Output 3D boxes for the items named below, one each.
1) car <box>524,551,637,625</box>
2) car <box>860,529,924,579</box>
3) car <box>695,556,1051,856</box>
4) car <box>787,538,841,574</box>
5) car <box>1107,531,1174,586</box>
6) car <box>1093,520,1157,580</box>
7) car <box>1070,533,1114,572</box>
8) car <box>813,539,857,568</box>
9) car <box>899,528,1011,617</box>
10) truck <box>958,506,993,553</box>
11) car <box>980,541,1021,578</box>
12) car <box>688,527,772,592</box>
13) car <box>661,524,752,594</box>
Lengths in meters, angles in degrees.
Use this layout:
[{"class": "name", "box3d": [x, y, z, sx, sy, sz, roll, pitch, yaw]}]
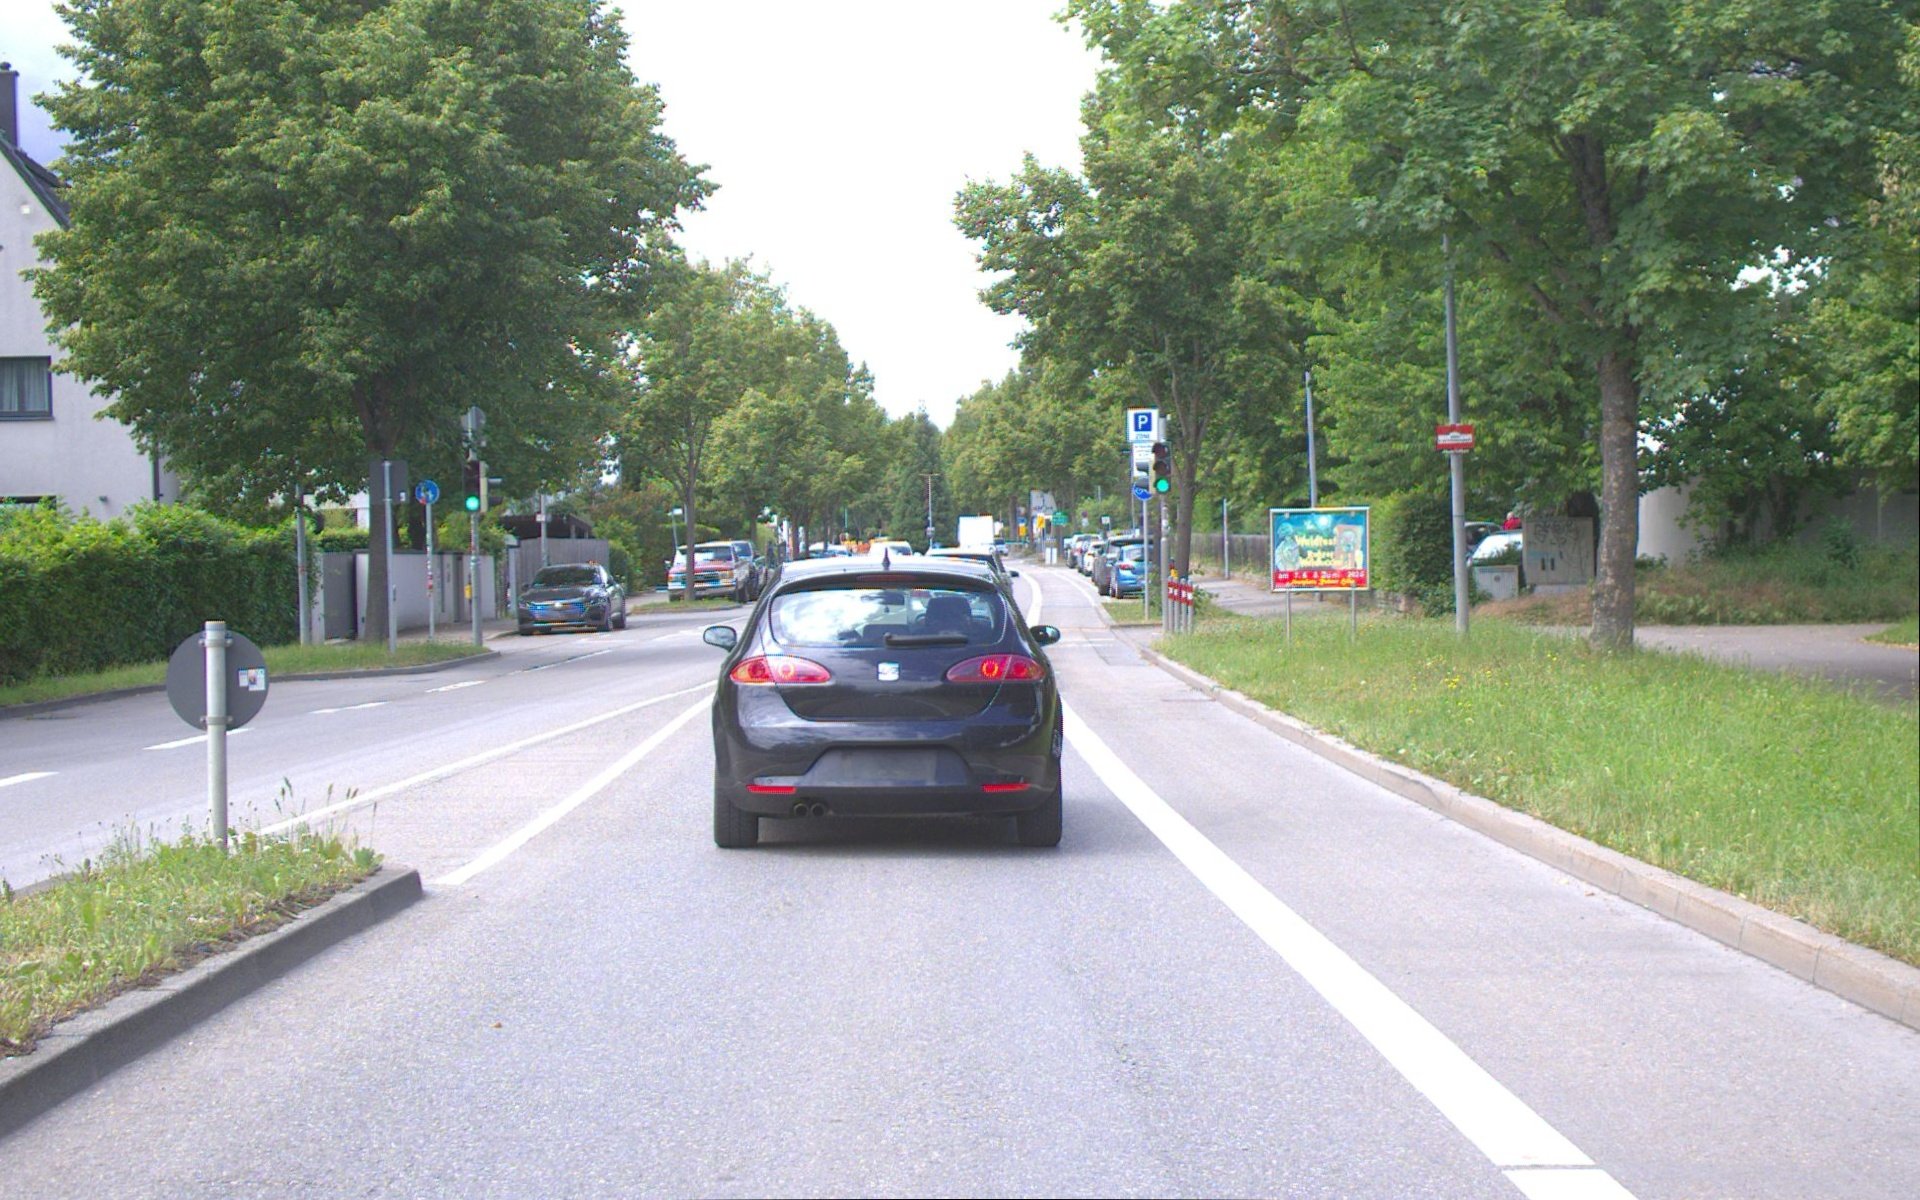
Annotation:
[{"class": "car", "box3d": [-7.885, -0.271, 71.742, 1.718, 1.390, 4.801, -3, 1, 1]}, {"class": "car", "box3d": [-2.355, -1.623, 120.593, 1.875, 1.629, 4.340, -3, 1, 3]}, {"class": "car", "box3d": [-0.430, 0.473, 18.027, 1.663, 1.396, 3.812, 0, 1, -1]}, {"class": "car", "box3d": [-6.682, -2.026, 158.148, 2.100, 1.501, 5.784, -3, 1, 1]}, {"class": "car", "box3d": [4.991, -1.159, 95.318, 1.688, 1.485, 3.355, -1, 1, 1]}, {"class": "car", "box3d": [4.788, -1.469, 100.326, 1.688, 1.705, 4.214, -1, 1, 1]}, {"class": "car", "box3d": [5.500, -1.985, 143.584, 1.688, 1.559, 4.214, -1, 1, 1]}, {"class": "car", "box3d": [-6.926, -2.609, 190.980, 2.100, 1.501, 5.784, -3, 1, 1]}, {"class": "car", "box3d": [-0.058, -0.488, 60.392, 1.846, 1.504, 3.812, 0, 1, 1]}, {"class": "truck", "box3d": [1.054, -4.781, 234.786, 2.279, 3.093, 8.511, 1, 1, 0]}, {"class": "car", "box3d": [1.910, -1.940, 163.367, 1.881, 1.683, 4.214, -1, 1, 1]}, {"class": "car", "box3d": [-7.223, -1.288, 108.375, 2.100, 1.890, 5.784, -3, 1, 1]}, {"class": "car", "box3d": [-7.404, -1.218, 100.880, 2.100, 1.890, 5.784, -3, 1, 1]}]
